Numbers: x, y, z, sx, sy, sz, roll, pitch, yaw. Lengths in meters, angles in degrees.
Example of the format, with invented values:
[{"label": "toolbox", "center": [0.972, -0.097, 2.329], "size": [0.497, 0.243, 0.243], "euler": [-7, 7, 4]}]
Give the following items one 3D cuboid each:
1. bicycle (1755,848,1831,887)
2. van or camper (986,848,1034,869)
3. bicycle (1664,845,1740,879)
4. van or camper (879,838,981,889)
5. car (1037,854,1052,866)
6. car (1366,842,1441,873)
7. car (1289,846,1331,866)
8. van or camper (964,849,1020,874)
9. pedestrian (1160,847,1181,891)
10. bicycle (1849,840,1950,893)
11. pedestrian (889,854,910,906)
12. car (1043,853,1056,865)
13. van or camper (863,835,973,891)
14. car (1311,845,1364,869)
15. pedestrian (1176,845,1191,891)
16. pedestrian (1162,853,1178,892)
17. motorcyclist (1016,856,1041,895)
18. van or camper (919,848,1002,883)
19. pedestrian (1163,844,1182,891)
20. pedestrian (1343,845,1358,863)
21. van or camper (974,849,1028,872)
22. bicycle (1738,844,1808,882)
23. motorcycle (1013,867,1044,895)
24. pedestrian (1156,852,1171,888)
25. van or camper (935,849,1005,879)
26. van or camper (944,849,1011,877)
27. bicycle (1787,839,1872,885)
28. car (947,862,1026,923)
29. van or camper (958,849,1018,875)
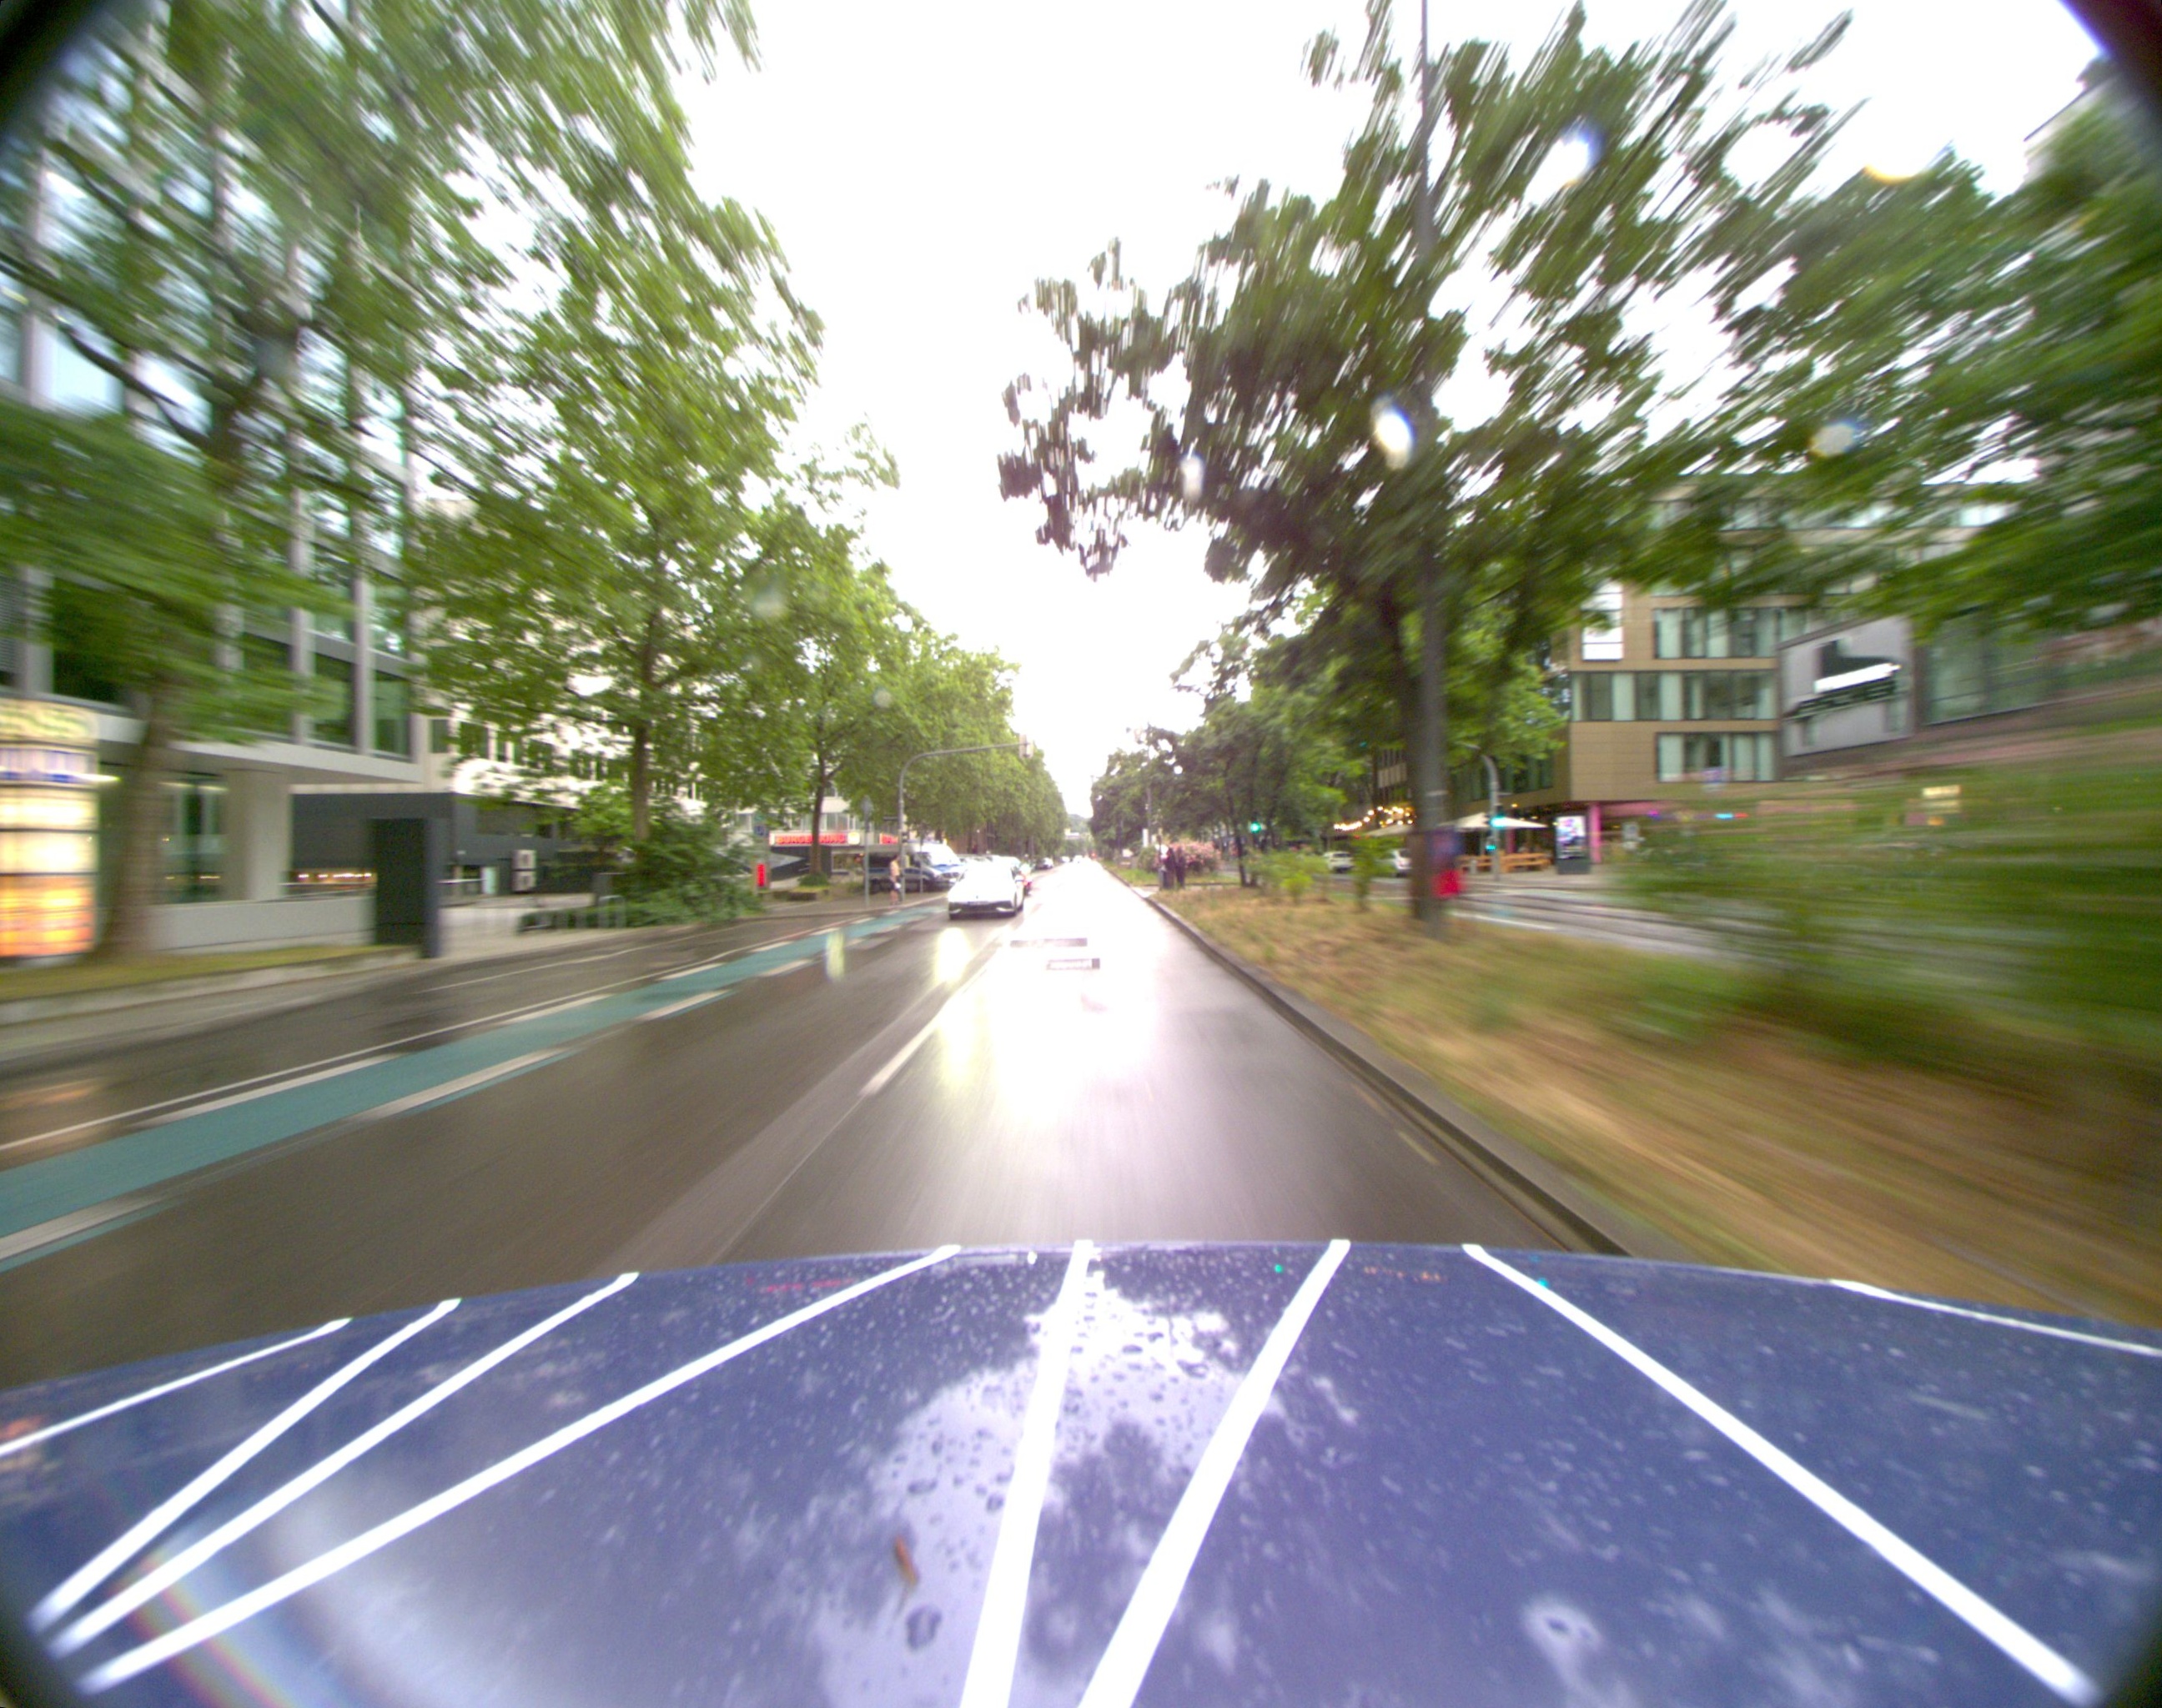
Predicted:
[{"label": "bicycle", "center": [18.498, 0.348, 19.745], "size": [1.623, 0.957, 0.509], "euler": [-2, 0, -6]}, {"label": "van or camper", "center": [-7.508, 0.523, 80.207], "size": [4.934, 1.980, 2.006], "euler": [-2, 1, 39]}, {"label": "bicycle", "center": [18.629, 0.240, 22.813], "size": [1.849, 0.973, 0.566], "euler": [-2, 0, -2]}, {"label": "van or camper", "center": [-8.342, 0.540, 41.667], "size": [5.796, 2.665, 2.004], "euler": [-1, 0, 36]}, {"label": "car", "center": [-5.005, 0.802, 105.075], "size": [1.797, 1.593, 4.423], "euler": [-3, 0, 0]}, {"label": "car", "center": [17.003, 0.163, 40.294], "size": [1.999, 1.500, 4.517], "euler": [-1, 0, -1]}, {"label": "car", "center": [17.175, 0.140, 57.113], "size": [1.829, 1.386, 4.484], "euler": [-2, 0, 1]}, {"label": "van or camper", "center": [-7.840, 0.647, 66.480], "size": [4.841, 1.986, 1.871], "euler": [-2, 1, 38]}, {"label": "pedestrian", "center": [3.365, 0.552, 28.526], "size": [0.630, 1.633, 0.444], "euler": [-2, 1, -13]}, {"label": "bicycle", "center": [18.650, 0.285, 17.326], "size": [1.850, 1.130, 0.565], "euler": [-2, 0, -6]}, {"label": "pedestrian", "center": [-6.602, 0.936, 27.649], "size": [0.607, 1.820, 0.564], "euler": [-2, 1, -8]}, {"label": "car", "center": [-4.640, 0.761, 110.213], "size": [1.756, 1.576, 4.409], "euler": [-3, 0, -3]}, {"label": "van or camper", "center": [-8.313, 0.479, 38.361], "size": [5.800, 2.662, 2.151], "euler": [-2, 1, 38]}, {"label": "car", "center": [17.034, 0.206, 50.680], "size": [1.998, 1.362, 4.540], "euler": [-4, 0, 1]}, {"label": "pedestrian", "center": [3.865, 0.518, 28.684], "size": [0.400, 1.710, 0.325], "euler": [-2, 1, -14]}, {"label": "pedestrian", "center": [3.313, 0.687, 28.393], "size": [0.424, 1.442, 0.385], "euler": [-2, 1, -17]}, {"label": "motorcyclist", "center": [-2.288, 0.912, 32.901], "size": [0.850, 1.635, 0.870], "euler": [-2, 1, -17]}, {"label": "van or camper", "center": [-7.727, 0.756, 48.420], "size": [5.195, 1.981, 2.004], "euler": [-3, 1, 36]}, {"label": "pedestrian", "center": [3.391, 0.496, 28.220], "size": [0.575, 1.688, 0.404], "euler": [-2, 1, -11]}, {"label": "pedestrian", "center": [20.270, 0.010, 57.216], "size": [0.765, 1.372, 0.933], "euler": [-2, 0, -2]}, {"label": "van or camper", "center": [-7.745, 0.618, 73.465], "size": [5.075, 2.007, 2.001], "euler": [-3, 0, 38]}, {"label": "bicycle", "center": [18.655, 0.248, 20.487], "size": [1.467, 0.973, 0.565], "euler": [-2, 0, -7]}, {"label": "motorcycle", "center": [-2.309, 1.161, 33.014], "size": [0.869, 1.136, 2.019], "euler": [-2, 0, -17]}, {"label": "pedestrian", "center": [3.460, 0.655, 31.876], "size": [0.482, 1.480, 0.545], "euler": [-1, 1, 19]}, {"label": "van or camper", "center": [-8.145, 0.763, 55.448], "size": [5.093, 2.013, 2.110], "euler": [-2, 0, 39]}, {"label": "van or camper", "center": [-8.088, 0.708, 59.240], "size": [5.010, 1.984, 2.004], "euler": [-1, 1, 34]}, {"label": "bicycle", "center": [18.656, 0.200, 18.947], "size": [1.674, 1.085, 0.565], "euler": [-2, 0, -6]}, {"label": "car", "center": [-2.586, 1.007, 21.689], "size": [1.867, 1.436, 4.508], "euler": [-3, 0, -3]}, {"label": "van or camper", "center": [-7.645, 0.693, 62.429], "size": [4.781, 1.999, 2.004], "euler": [-2, 1, 37]}]
